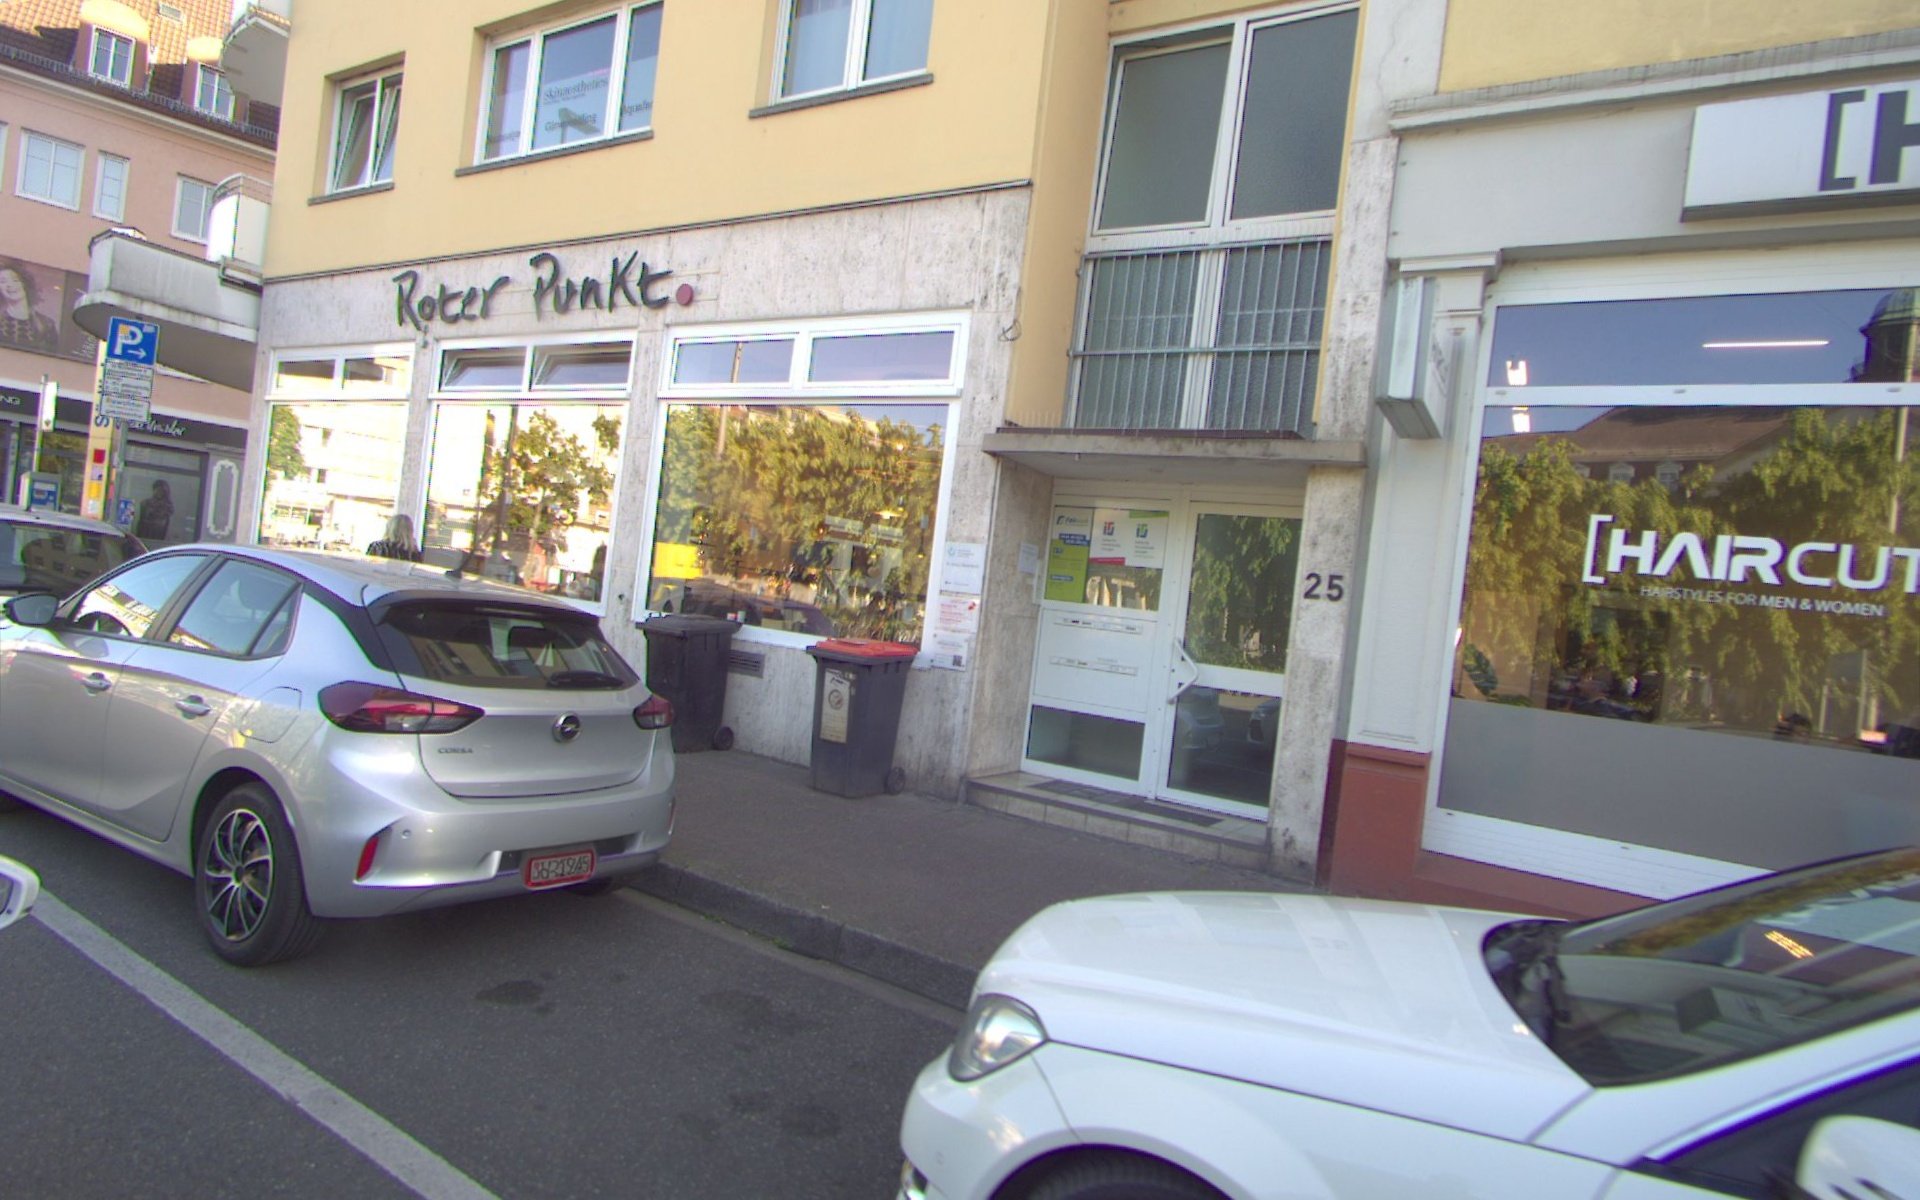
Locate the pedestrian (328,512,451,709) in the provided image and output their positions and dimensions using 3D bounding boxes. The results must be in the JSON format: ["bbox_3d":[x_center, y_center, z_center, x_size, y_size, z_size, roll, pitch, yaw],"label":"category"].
[{"bbox_3d":[-5.084,0.095,8.967,0.618,1.654,0.661,7,2,36],"label":"pedestrian"}]

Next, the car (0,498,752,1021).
[{"bbox_3d":[-3.161,0.430,4.765,4.007,1.444,1.674,7,-1,28],"label":"car"}]

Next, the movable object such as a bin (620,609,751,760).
[{"bbox_3d":[-2.183,0.646,8.016,0.609,1.082,0.703,7,3,31],"label":"movable object such as a bin"}]

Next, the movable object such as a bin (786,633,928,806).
[{"bbox_3d":[-0.719,0.808,7.100,0.609,1.082,0.703,7,3,31],"label":"movable object such as a bin"}]

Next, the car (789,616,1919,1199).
[{"bbox_3d":[2.010,1.055,1.659,4.389,1.464,1.741,7,-1,31],"label":"car"}]

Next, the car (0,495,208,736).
[{"bbox_3d":[-7.111,-0.075,7.046,3.822,1.411,1.624,7,-1,33],"label":"car"}]
